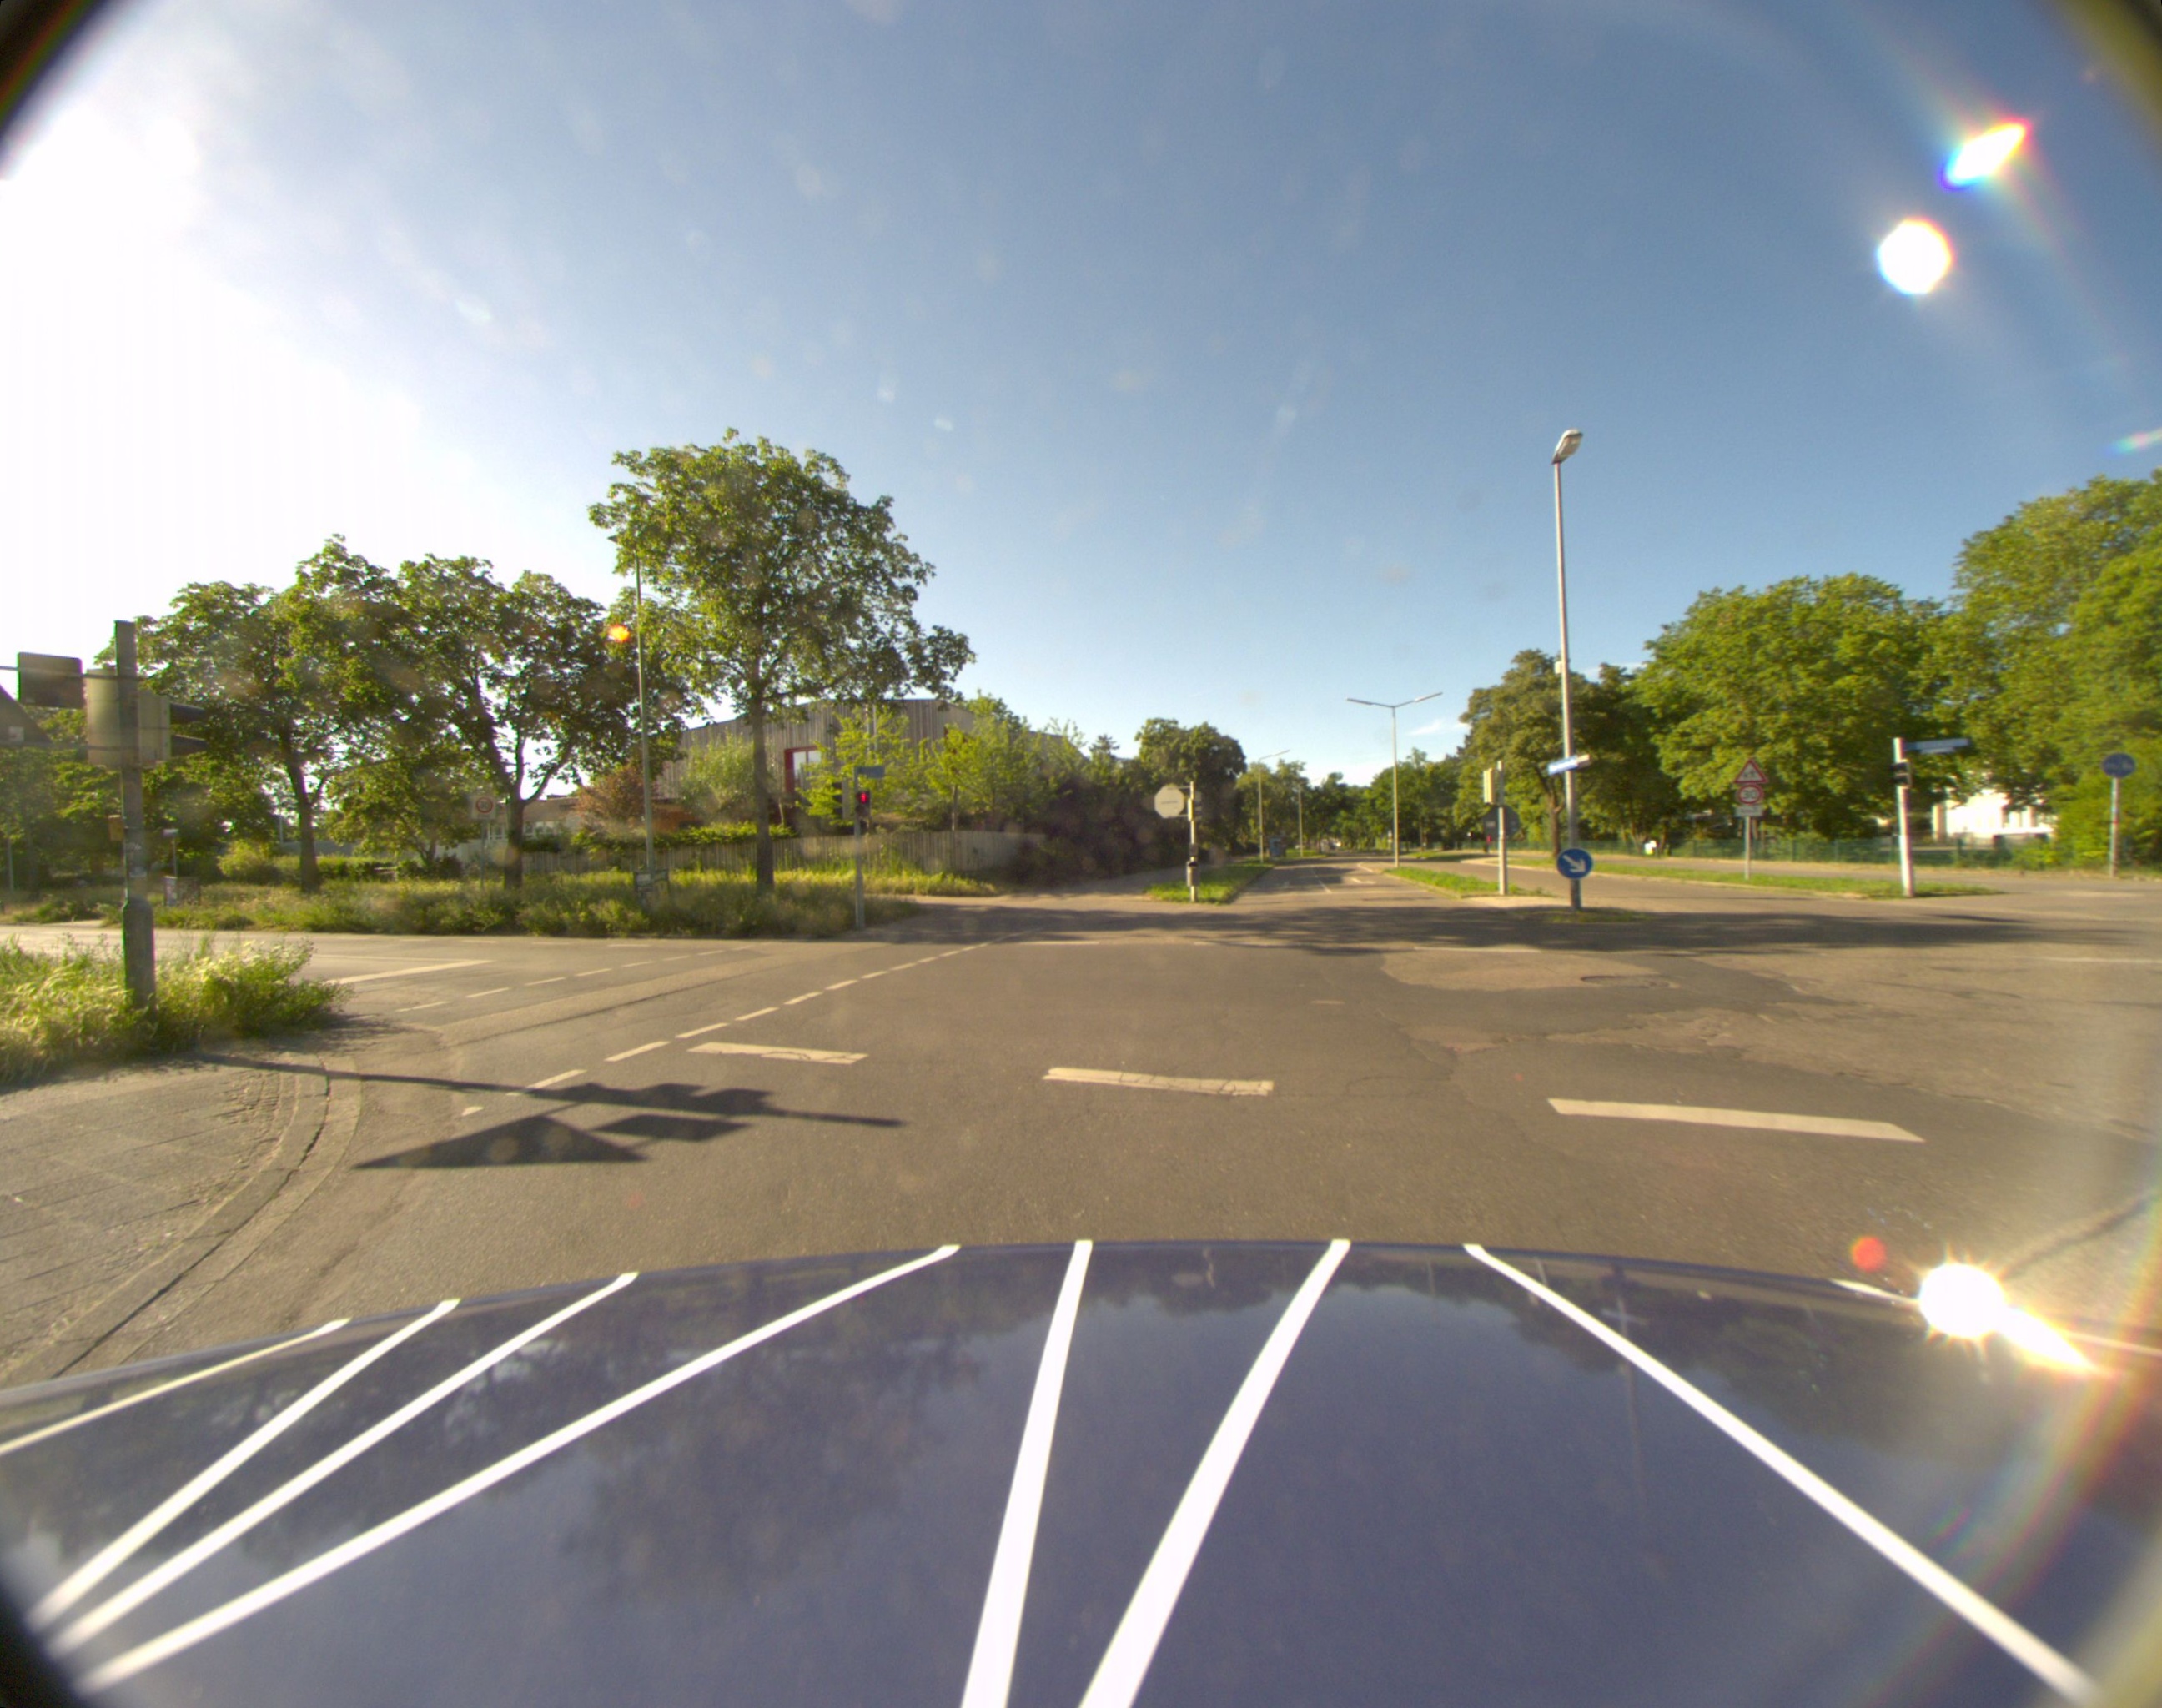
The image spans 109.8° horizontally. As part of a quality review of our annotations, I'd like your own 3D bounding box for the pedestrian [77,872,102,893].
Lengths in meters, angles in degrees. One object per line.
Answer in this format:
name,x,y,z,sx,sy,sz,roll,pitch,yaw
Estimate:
pedestrian,-58.472,1.688,44.802,0.520,1.151,0.640,-1,5,19
